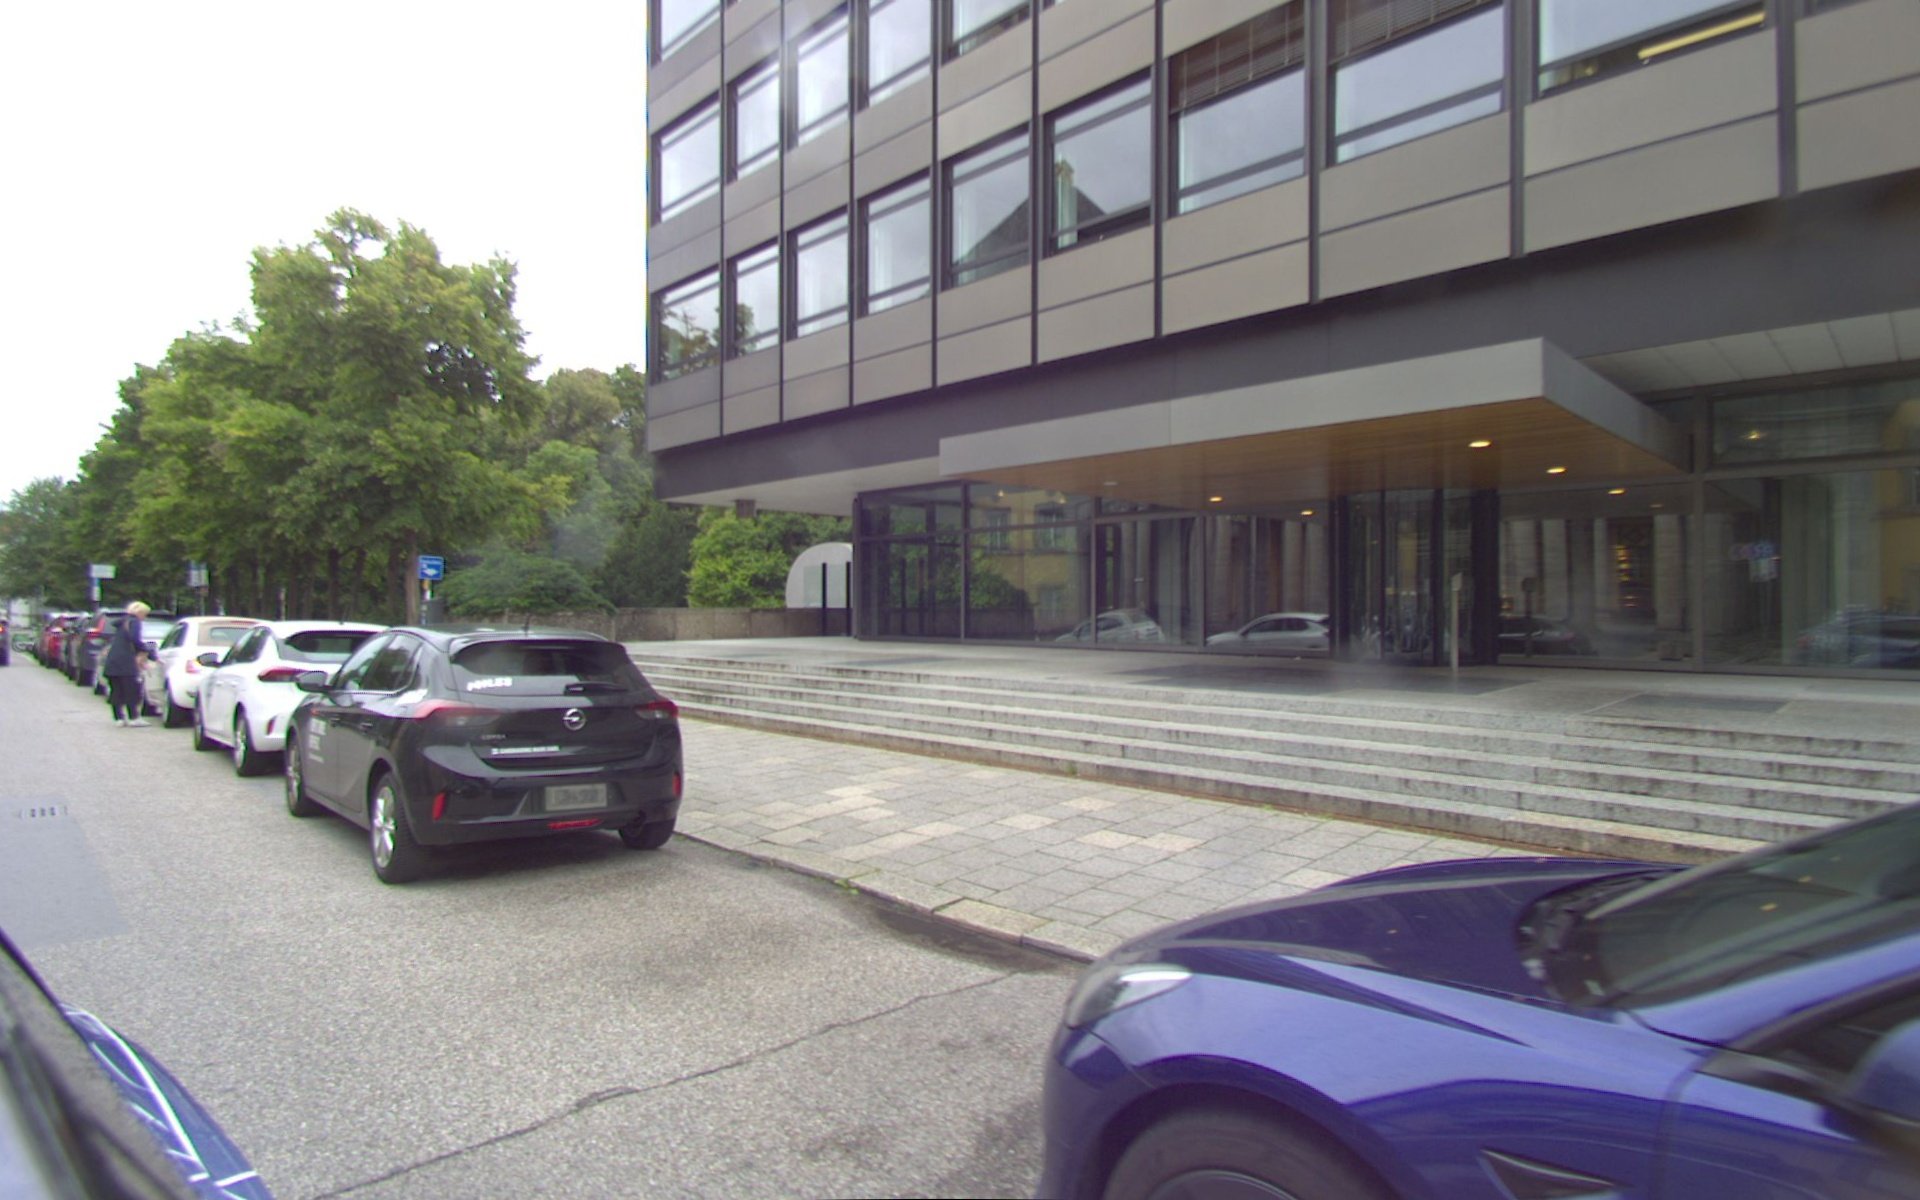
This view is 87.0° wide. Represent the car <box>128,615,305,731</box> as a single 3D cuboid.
[{"bbox_3d":[-10.921,0.992,14.791,3.555,1.482,1.526,-1,-3,45],"label":"car"}]

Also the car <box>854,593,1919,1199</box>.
[{"bbox_3d":[2.207,0.749,1.170,4.919,1.450,1.901,0,-2,44],"label":"car"}]

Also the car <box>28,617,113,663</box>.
[{"bbox_3d":[-30.502,1.340,34.666,1.970,1.472,4.367,1,-2,-44],"label":"car"}]

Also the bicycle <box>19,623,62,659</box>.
[{"bbox_3d":[-35.692,1.582,39.297,0.566,1.292,1.422,-2,0,-13],"label":"bicycle"}]

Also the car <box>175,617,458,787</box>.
[{"bbox_3d":[-7.009,0.942,10.822,1.662,1.451,4.282,4,-3,-44],"label":"car"}]

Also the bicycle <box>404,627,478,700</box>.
[{"bbox_3d":[-9.009,1.072,17.537,1.527,1.173,0.635,-1,1,44],"label":"bicycle"}]

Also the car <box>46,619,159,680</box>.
[{"bbox_3d":[-22.691,1.248,26.712,1.970,1.472,4.651,1,-2,-44],"label":"car"}]

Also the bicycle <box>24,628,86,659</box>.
[{"bbox_3d":[-34.368,1.638,38.461,0.598,1.116,1.679,-1,0,36],"label":"bicycle"}]

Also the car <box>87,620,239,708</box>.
[{"bbox_3d":[-14.583,1.106,18.429,1.737,1.411,4.221,5,-4,-43],"label":"car"}]

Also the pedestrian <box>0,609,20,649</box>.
[{"bbox_3d":[-42.184,1.275,44.747,0.661,1.744,0.787,0,2,43],"label":"pedestrian"}]

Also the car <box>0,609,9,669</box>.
[{"bbox_3d":[-29.318,1.133,29.707,2.001,1.702,4.681,1,-2,-43],"label":"car"}]

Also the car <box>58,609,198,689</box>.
[{"bbox_3d":[-18.683,1.035,22.648,4.524,1.595,1.971,-1,-2,45],"label":"car"}]

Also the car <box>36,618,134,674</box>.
[{"bbox_3d":[-26.003,1.313,30.025,1.970,1.555,4.367,1,-2,-44],"label":"car"}]

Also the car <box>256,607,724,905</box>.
[{"bbox_3d":[-3.541,0.835,7.165,1.719,1.472,4.240,3,-3,-43],"label":"car"}]

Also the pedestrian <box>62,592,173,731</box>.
[{"bbox_3d":[-11.182,0.808,13.463,0.680,1.765,0.894,1,-3,-4],"label":"pedestrian"}]
